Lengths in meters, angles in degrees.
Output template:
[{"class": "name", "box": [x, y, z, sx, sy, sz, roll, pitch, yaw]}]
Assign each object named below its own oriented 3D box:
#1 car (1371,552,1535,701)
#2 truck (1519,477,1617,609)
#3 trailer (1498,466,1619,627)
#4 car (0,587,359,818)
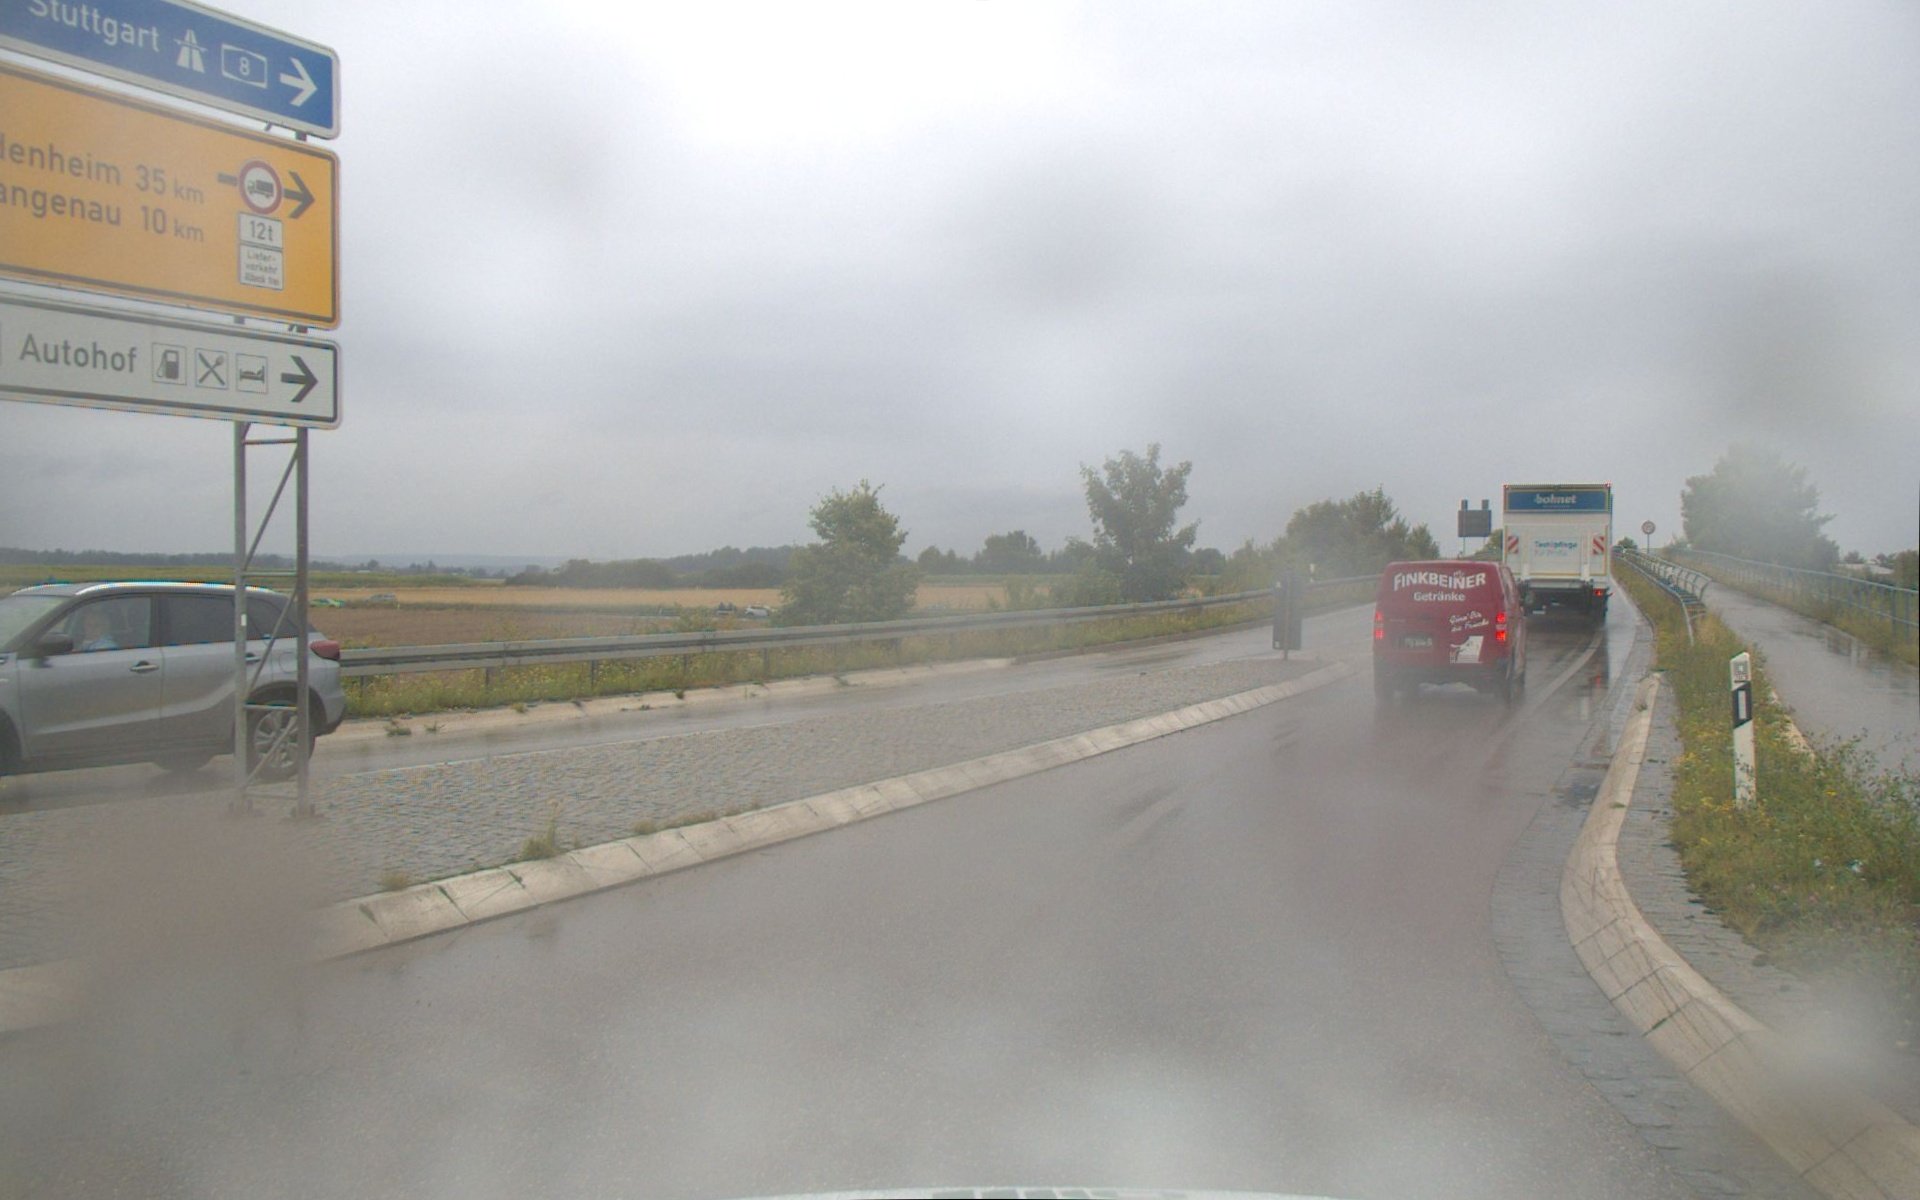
[{"class": "car", "box": [7.300, 0.286, 24.144, 1.952, 1.903, 4.980, 0, 2, 21]}, {"class": "truck", "box": [19.492, -1.777, 52.928, 2.742, 3.885, 7.691, 0, 1, 21]}, {"class": "trailer", "box": [16.355, -1.412, 44.840, 2.774, 3.885, 9.715, 0, 1, 22]}, {"class": "car", "box": [-6.982, 0.717, 12.950, 1.771, 1.602, 3.984, 2, 1, 36]}]
